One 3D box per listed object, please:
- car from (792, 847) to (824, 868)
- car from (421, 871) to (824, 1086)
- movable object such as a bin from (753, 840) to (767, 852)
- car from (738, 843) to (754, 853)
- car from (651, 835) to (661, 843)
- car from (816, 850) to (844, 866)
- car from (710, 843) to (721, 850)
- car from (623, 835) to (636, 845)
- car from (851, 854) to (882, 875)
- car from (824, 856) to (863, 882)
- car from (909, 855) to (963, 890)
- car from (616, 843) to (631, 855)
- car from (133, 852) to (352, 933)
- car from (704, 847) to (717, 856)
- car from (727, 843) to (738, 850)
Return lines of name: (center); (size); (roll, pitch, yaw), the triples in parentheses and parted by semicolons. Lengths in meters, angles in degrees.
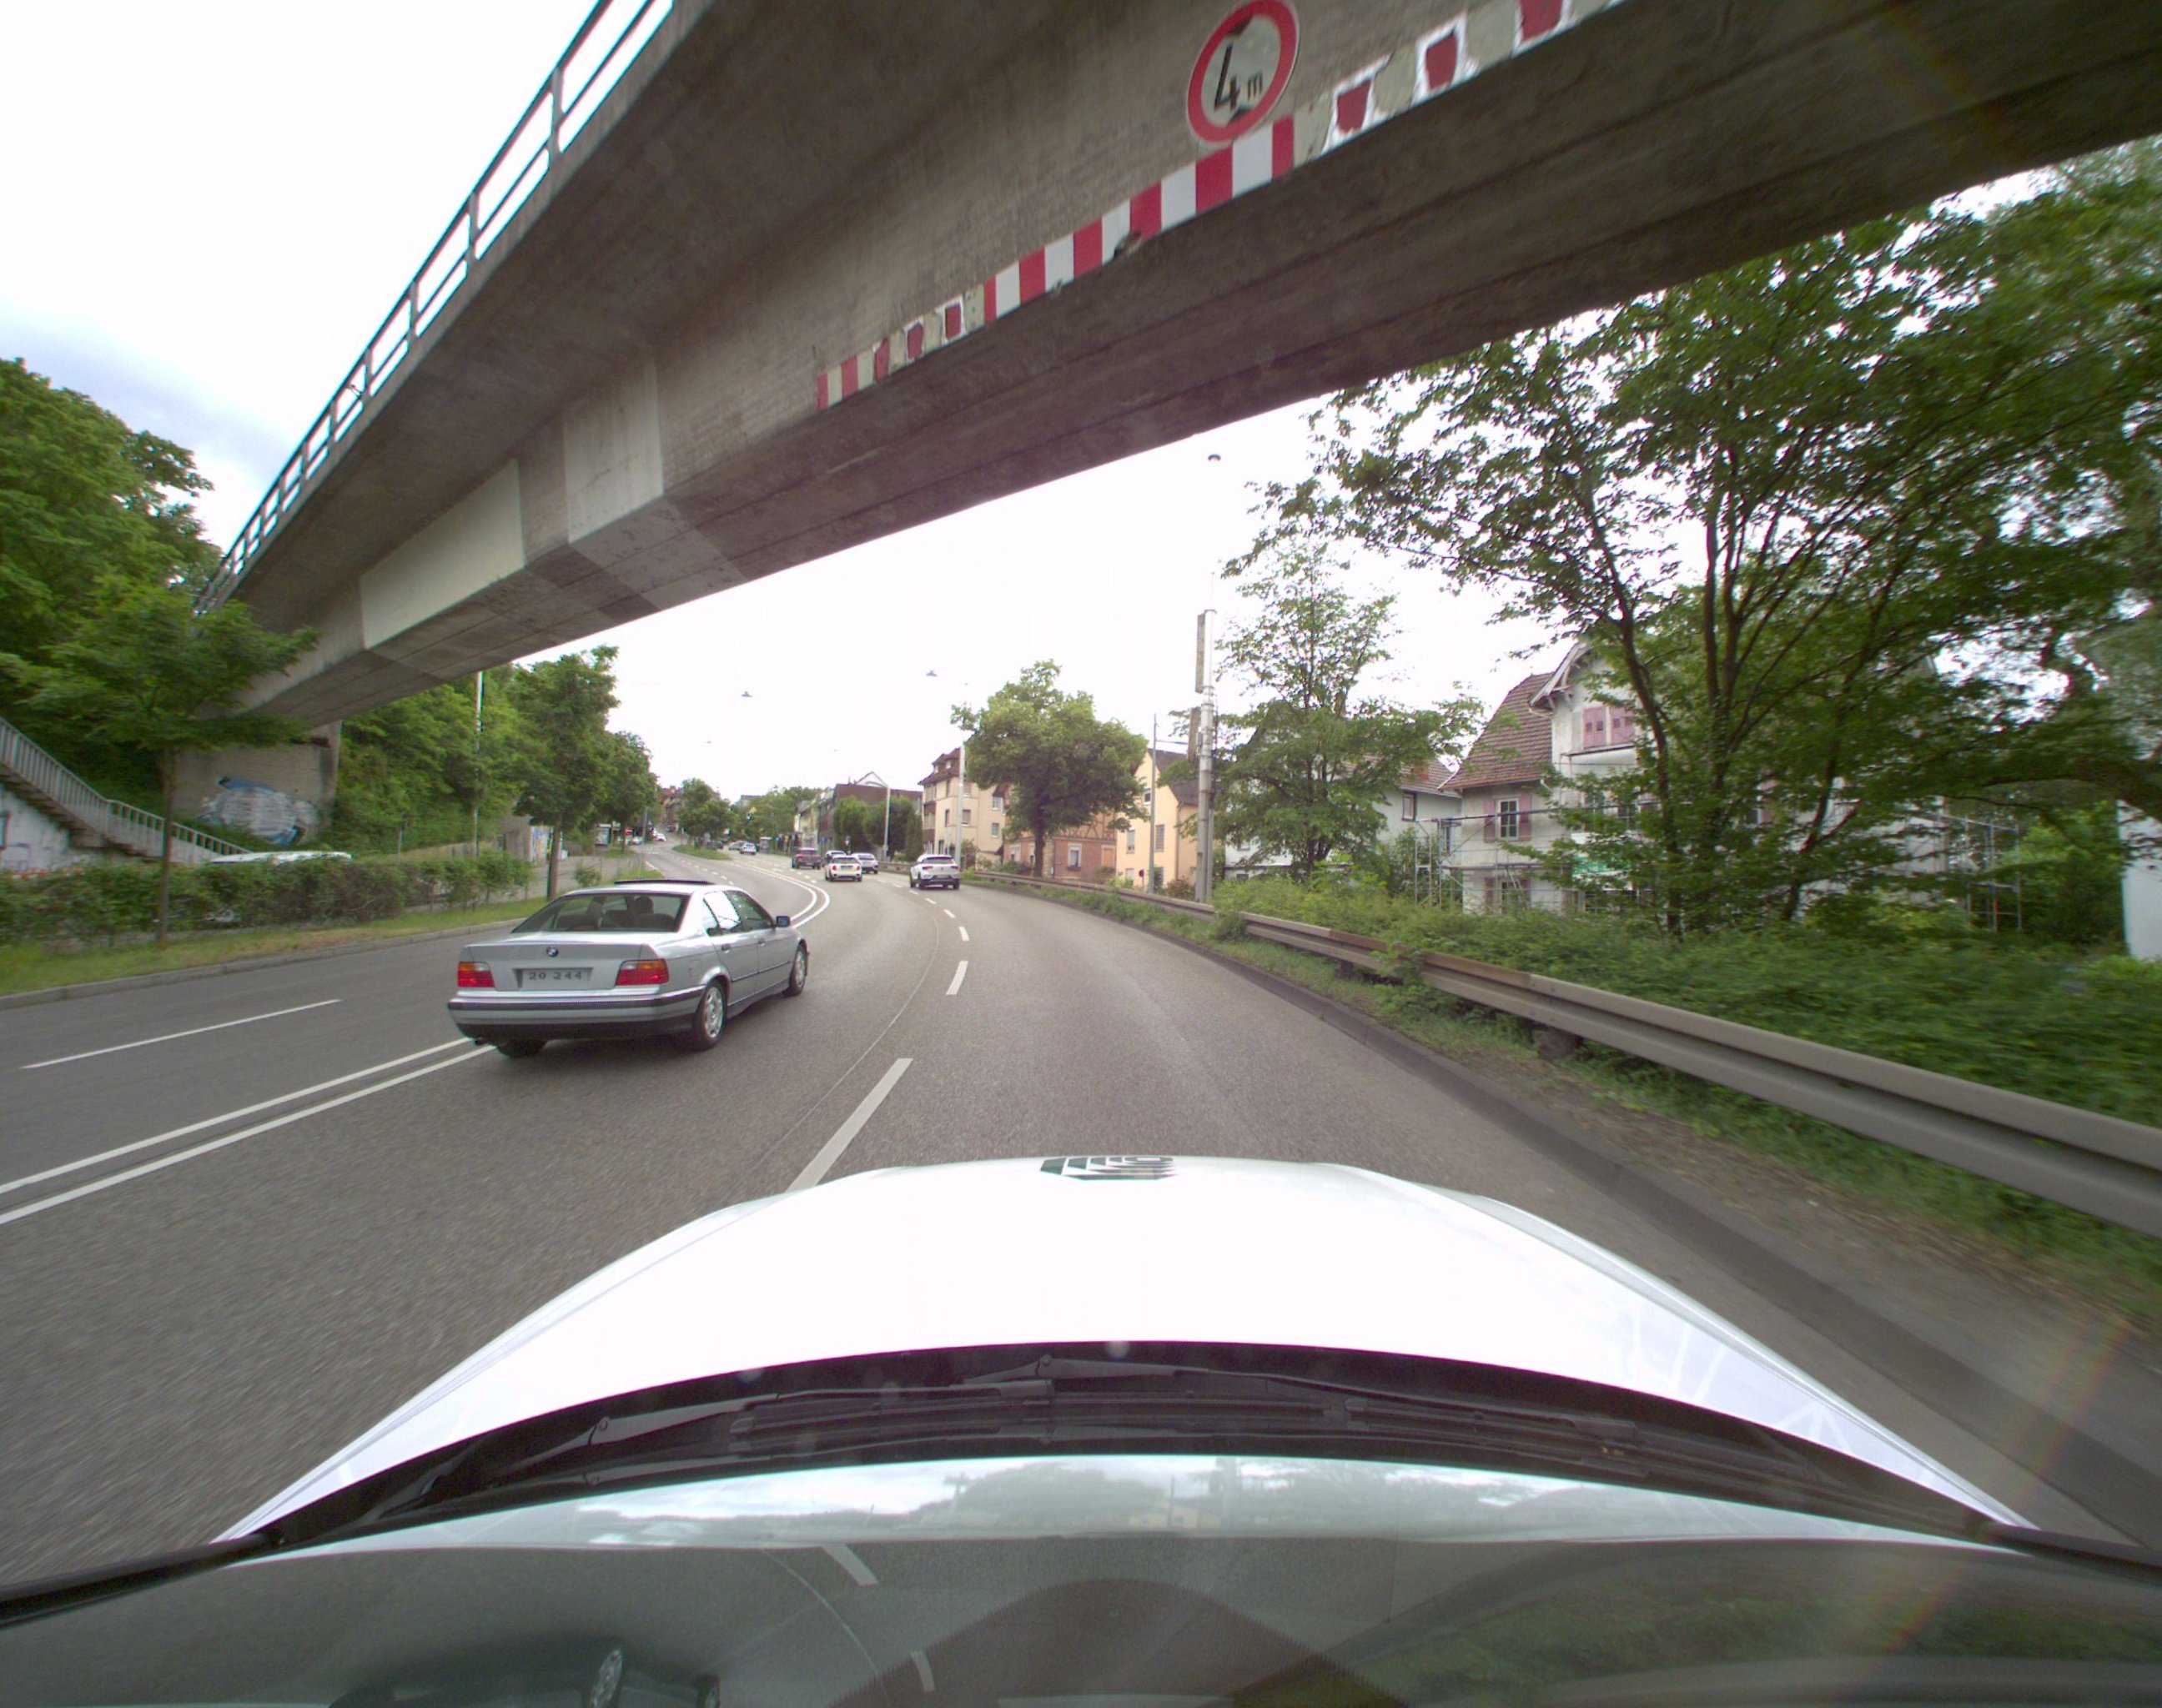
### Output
car: (-21.482, 0.269, 63.910); (1.733, 1.640, 3.423); (0, 0, -30)
car: (-3.899, 0.904, 7.971); (1.632, 1.383, 4.612); (-1, 0, -5)
movable object such as a bin: (-58.917, -1.461, 149.580); (1.906, 1.870, 1.512); (5, -1, -36)
car: (-48.283, -0.803, 117.261); (1.732, 1.376, 3.425); (0, 0, -28)
car: (-101.916, -3.640, 195.247); (1.870, 1.670, 4.240); (5, -1, -29)
car: (-21.568, 0.349, 69.830); (1.732, 1.376, 3.426); (0, 0, -27)
car: (-70.238, -1.458, 156.385); (1.732, 1.376, 3.425); (0, 0, -28)
car: (-81.340, -2.525, 146.703); (1.871, 1.594, 4.239); (5, -1, -30)
car: (-15.203, 0.724, 57.605); (1.730, 1.376, 3.431); (0, 0, -22)
car: (-13.209, 0.818, 45.209); (1.730, 1.376, 3.431); (0, 0, -22)
car: (-6.639, 0.791, 37.110); (1.804, 1.519, 3.432); (0, 0, -21)
car: (-71.539, -0.854, 127.339); (1.871, 1.670, 4.239); (5, -1, -30)
car: (-21.188, 0.866, 20.883); (1.769, 1.785, 4.444); (-2, 0, -14)
car: (-61.734, -0.397, 135.628); (1.733, 1.583, 3.423); (0, 0, -30)
car: (-66.856, -1.399, 156.148); (1.732, 1.376, 3.425); (0, 0, -28)
